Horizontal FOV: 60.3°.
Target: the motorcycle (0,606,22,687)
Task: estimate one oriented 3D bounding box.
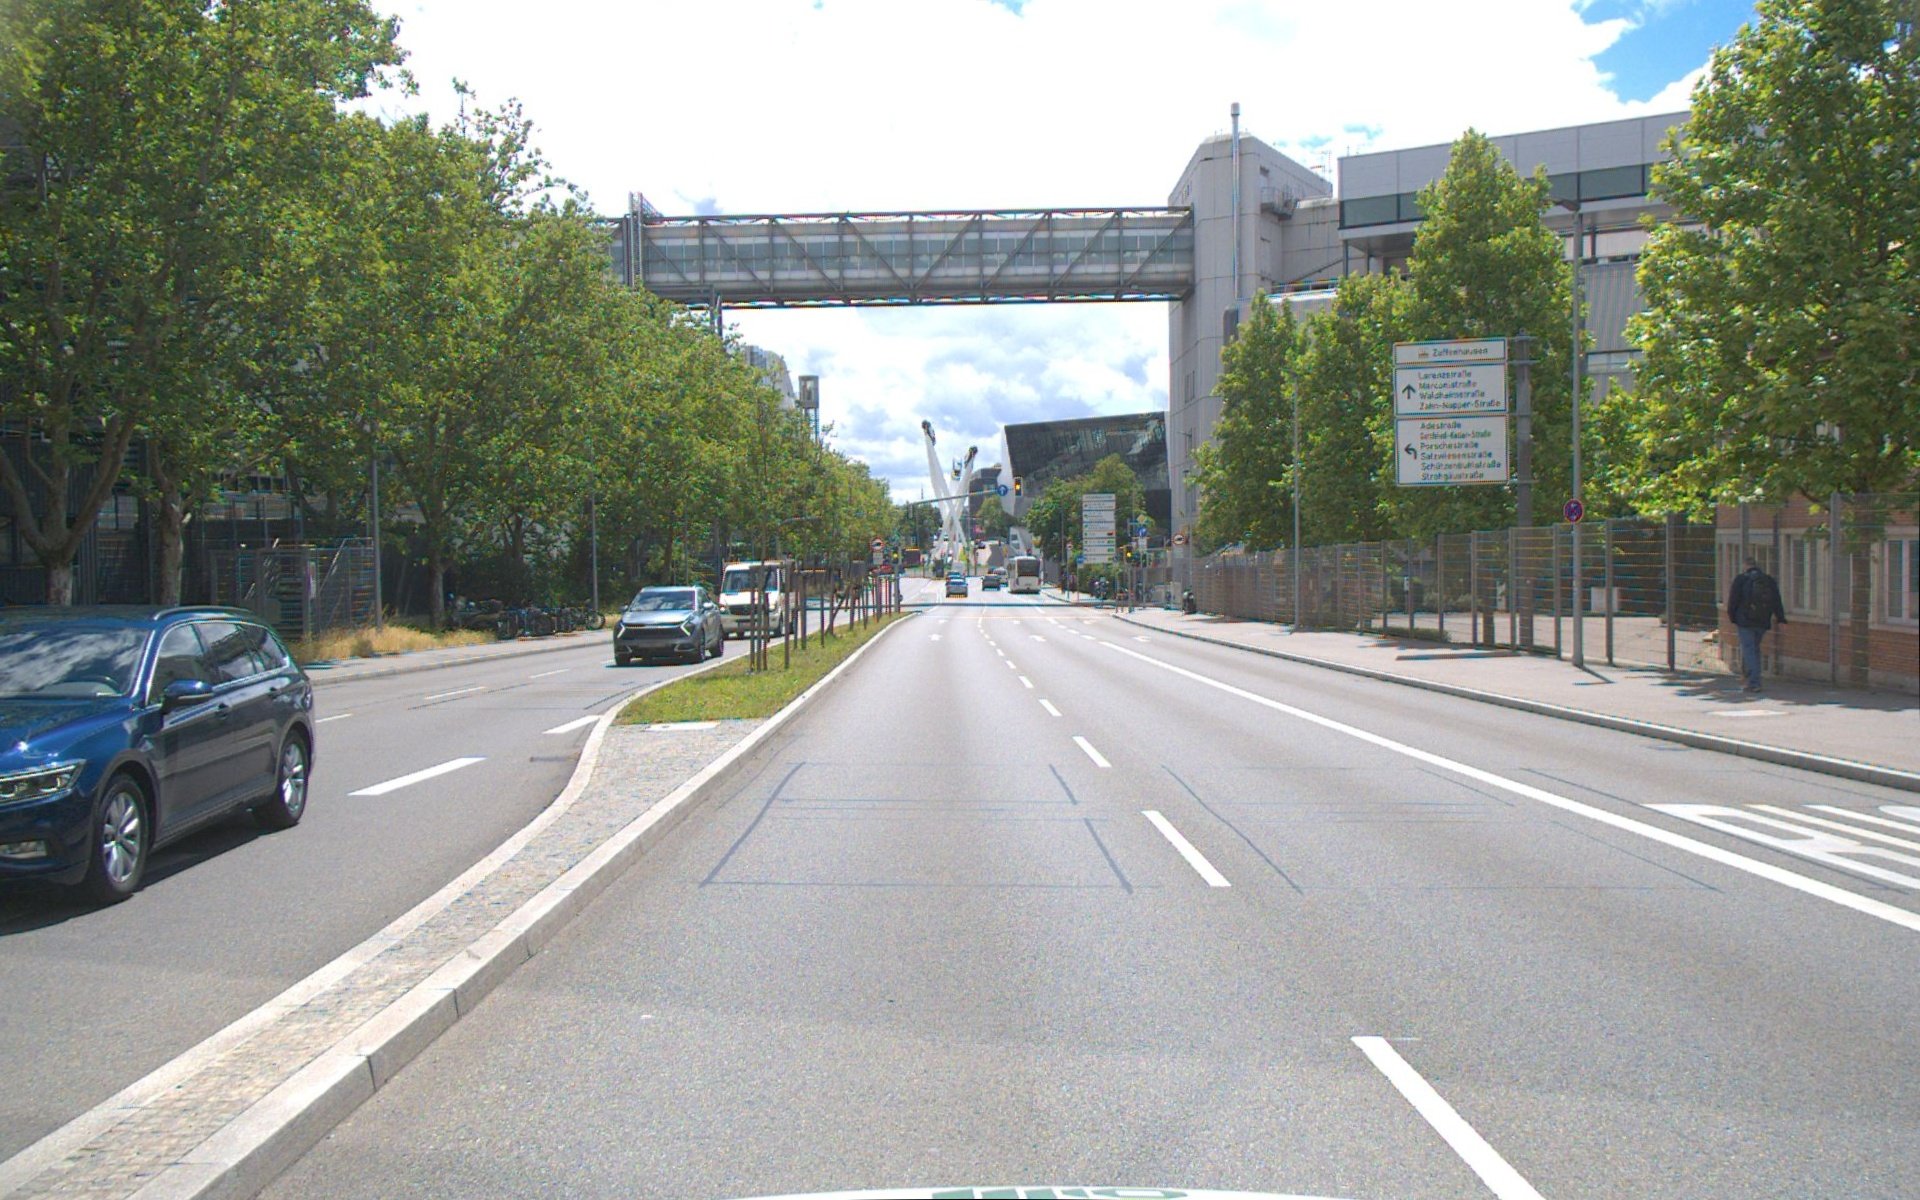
[{"bbox_3d":[-15.714,0.695,25.760,1.838,1.231,0.655,2,1,3],"label":"motorcycle"}]

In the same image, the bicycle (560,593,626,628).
[{"bbox_3d":[-13.806,0.389,62.307,2.354,1.280,0.556,0,0,1],"label":"bicycle"}]

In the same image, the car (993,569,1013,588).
[{"bbox_3d":[4.986,-2.457,191.603,1.953,2.049,3.998,1,-1,-2],"label":"car"}]

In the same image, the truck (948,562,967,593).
[{"bbox_3d":[-0.278,-2.920,216.930,2.343,3.965,6.178,0,0,1],"label":"truck"}]

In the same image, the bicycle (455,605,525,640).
[{"bbox_3d":[-14.735,0.702,51.829,2.039,1.081,0.497,0,0,-2],"label":"bicycle"}]

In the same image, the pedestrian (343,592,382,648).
[{"bbox_3d":[-17.050,0.553,47.207,0.738,1.579,0.821,0,0,9],"label":"pedestrian"}]

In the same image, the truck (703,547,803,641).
[{"bbox_3d":[-6.566,-0.205,53.227,2.428,2.799,6.457,-1,0,-1],"label":"truck"}]

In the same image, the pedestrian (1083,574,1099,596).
[{"bbox_3d":[10.187,-1.173,128.303,0.835,1.653,0.951,0,0,42],"label":"pedestrian"}]

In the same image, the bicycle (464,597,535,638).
[{"bbox_3d":[-14.947,0.567,53.698,2.091,1.305,0.806,0,0,-2],"label":"bicycle"}]

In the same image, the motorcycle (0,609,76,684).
[{"bbox_3d":[-15.423,0.735,26.857,1.838,1.103,0.795,2,2,15],"label":"motorcycle"}]

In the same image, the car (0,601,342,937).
[{"bbox_3d":[-5.058,0.761,9.564,1.676,1.479,4.474,0,0,-6],"label":"car"}]

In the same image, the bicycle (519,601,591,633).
[{"bbox_3d":[-15.046,0.616,61.498,2.510,1.178,0.726,0,0,10],"label":"bicycle"}]

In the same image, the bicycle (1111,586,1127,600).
[{"bbox_3d":[11.149,-0.481,115.693,0.391,0.953,1.919,0,0,-18],"label":"bicycle"}]

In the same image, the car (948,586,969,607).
[{"bbox_3d":[-0.154,-0.319,138.373,1.702,1.772,3.692,0,0,1],"label":"car"}]

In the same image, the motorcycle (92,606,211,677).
[{"bbox_3d":[-14.680,0.746,30.048,1.838,1.193,0.746,2,2,9],"label":"motorcycle"}]

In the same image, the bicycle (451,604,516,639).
[{"bbox_3d":[-14.786,0.665,51.359,1.885,1.093,0.422,0,0,-2],"label":"bicycle"}]

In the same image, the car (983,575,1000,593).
[{"bbox_3d":[3.148,-1.547,164.407,1.702,1.772,3.692,0,0,1],"label":"car"}]

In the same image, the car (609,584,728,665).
[{"bbox_3d":[-6.290,0.487,36.099,1.866,1.659,4.292,0,0,-1],"label":"car"}]

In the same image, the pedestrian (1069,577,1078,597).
[{"bbox_3d":[9.901,-1.127,144.413,0.623,1.772,0.821,0,0,-8],"label":"pedestrian"}]

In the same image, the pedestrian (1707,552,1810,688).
[{"bbox_3d":[10.818,0.263,22.442,0.859,1.774,0.940,-2,0,-1],"label":"pedestrian"}]

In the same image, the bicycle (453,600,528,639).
[{"bbox_3d":[-14.363,0.591,50.619,2.091,1.201,0.806,0,0,-2],"label":"bicycle"}]

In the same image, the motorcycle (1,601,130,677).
[{"bbox_3d":[-15.164,0.654,28.053,1.838,1.207,0.730,2,1,8],"label":"motorcycle"}]

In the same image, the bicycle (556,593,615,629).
[{"bbox_3d":[-14.374,0.430,63.516,2.122,1.387,0.490,0,0,1],"label":"bicycle"}]

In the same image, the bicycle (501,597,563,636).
[{"bbox_3d":[-14.432,0.547,55.803,1.879,1.305,0.806,0,0,-2],"label":"bicycle"}]

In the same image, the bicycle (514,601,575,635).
[{"bbox_3d":[-14.272,0.624,56.843,1.879,1.142,0.806,0,0,-2],"label":"bicycle"}]

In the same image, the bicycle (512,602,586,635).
[{"bbox_3d":[-14.808,0.667,59.561,2.510,1.115,0.696,-1,0,10],"label":"bicycle"}]

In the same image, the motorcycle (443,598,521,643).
[{"bbox_3d":[-14.298,0.605,49.525,2.091,1.332,0.806,0,0,-2],"label":"motorcycle"}]

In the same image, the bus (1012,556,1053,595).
[{"bbox_3d":[6.815,-2.295,157.521,3.382,3.605,10.605,0,0,0],"label":"bus"}]

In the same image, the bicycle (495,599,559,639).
[{"bbox_3d":[-14.296,0.629,54.634,1.879,1.305,0.806,0,0,-2],"label":"bicycle"}]

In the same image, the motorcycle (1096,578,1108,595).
[{"bbox_3d":[10.233,-0.973,119.523,0.692,1.224,2.024,-2,1,1],"label":"motorcycle"}]

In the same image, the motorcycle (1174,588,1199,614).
[{"bbox_3d":[10.357,0.037,75.576,0.679,1.178,2.146,-2,1,-4],"label":"motorcycle"}]

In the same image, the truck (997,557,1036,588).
[{"bbox_3d":[8.434,-4.085,245.984,3.380,4.468,9.424,0,0,18],"label":"truck"}]
